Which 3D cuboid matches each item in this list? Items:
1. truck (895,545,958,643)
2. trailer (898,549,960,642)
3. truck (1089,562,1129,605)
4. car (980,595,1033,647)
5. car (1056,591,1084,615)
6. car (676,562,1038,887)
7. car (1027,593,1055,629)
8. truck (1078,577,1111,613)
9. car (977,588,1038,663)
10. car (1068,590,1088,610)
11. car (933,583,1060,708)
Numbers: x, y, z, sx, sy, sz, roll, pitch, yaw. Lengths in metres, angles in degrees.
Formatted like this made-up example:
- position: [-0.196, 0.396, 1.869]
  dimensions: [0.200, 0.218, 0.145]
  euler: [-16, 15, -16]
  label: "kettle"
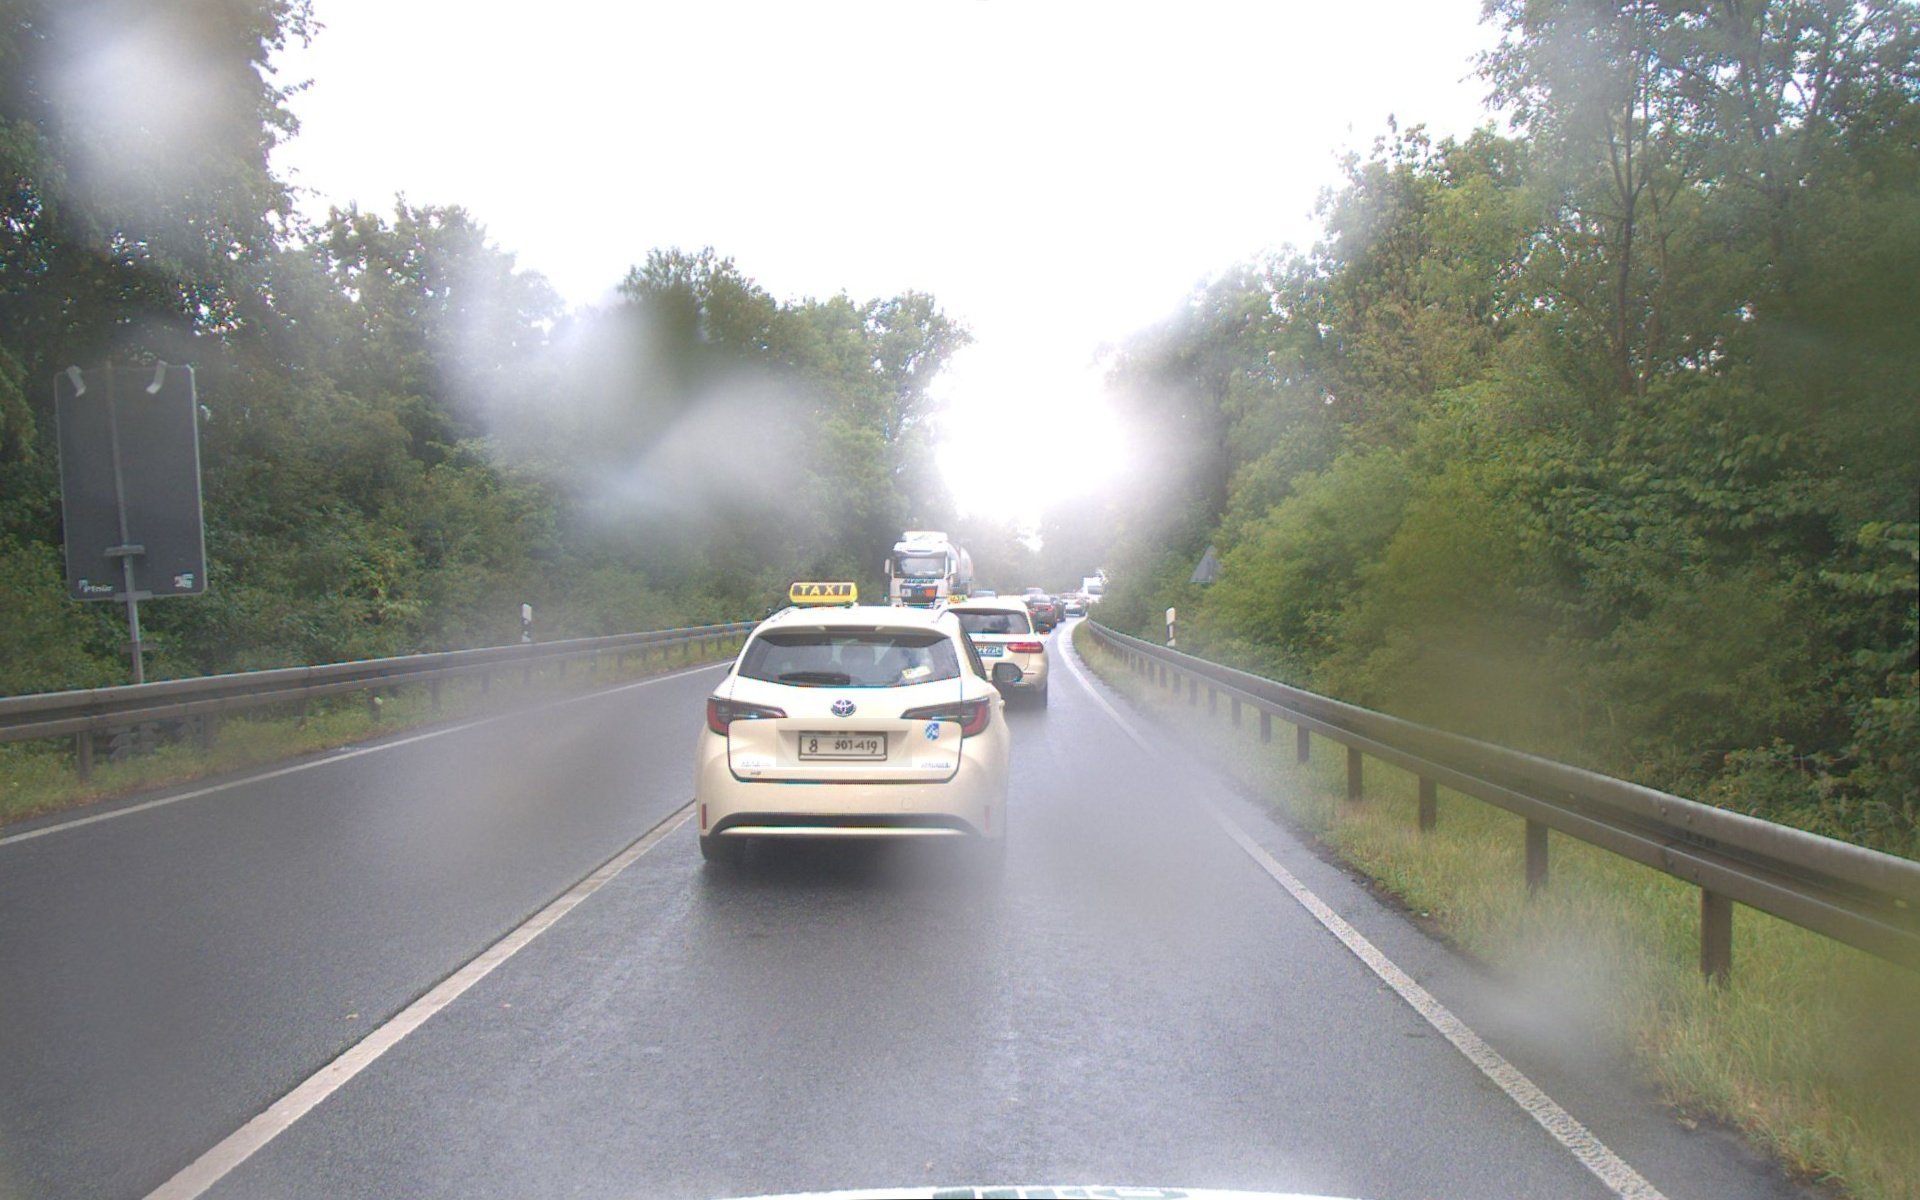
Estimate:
- position: [-1.343, -0.206, 69.095]
  dimensions: [2.484, 3.892, 5.244]
  euler: [1, -1, 0]
  label: "truck"
- position: [-1.339, -0.167, 74.475]
  dimensions: [2.484, 3.892, 7.792]
  euler: [1, 0, 1]
  label: "trailer"
- position: [13.786, -1.465, 152.552]
  dimensions: [3.041, 3.745, 7.006]
  euler: [1, -1, 9]
  label: "truck"
- position: [1.488, 0.628, 51.655]
  dimensions: [1.577, 1.574, 3.815]
  euler: [0, 0, 2]
  label: "car"
- position: [7.328, 0.210, 110.031]
  dimensions: [1.732, 1.574, 3.816]
  euler: [1, 0, 6]
  label: "car"
- position: [-0.531, 0.643, 10.423]
  dimensions: [1.796, 1.608, 4.156]
  euler: [1, 0, 0]
  label: "car"
- position: [3.659, 0.516, 74.750]
  dimensions: [1.142, 1.574, 2.605]
  euler: [1, -1, 4]
  label: "car"
- position: [10.748, -0.378, 132.709]
  dimensions: [2.496, 2.760, 7.538]
  euler: [1, 0, 4]
  label: "truck"
- position: [1.059, 0.558, 37.134]
  dimensions: [1.273, 1.574, 3.260]
  euler: [1, 0, 1]
  label: "car"
- position: [12.664, -0.012, 177.158]
  dimensions: [1.550, 2.049, 3.764]
  euler: [1, -1, 13]
  label: "car"
- position: [0.517, 0.608, 23.673]
  dimensions: [1.633, 1.608, 3.892]
  euler: [1, 0, 1]
  label: "car"
